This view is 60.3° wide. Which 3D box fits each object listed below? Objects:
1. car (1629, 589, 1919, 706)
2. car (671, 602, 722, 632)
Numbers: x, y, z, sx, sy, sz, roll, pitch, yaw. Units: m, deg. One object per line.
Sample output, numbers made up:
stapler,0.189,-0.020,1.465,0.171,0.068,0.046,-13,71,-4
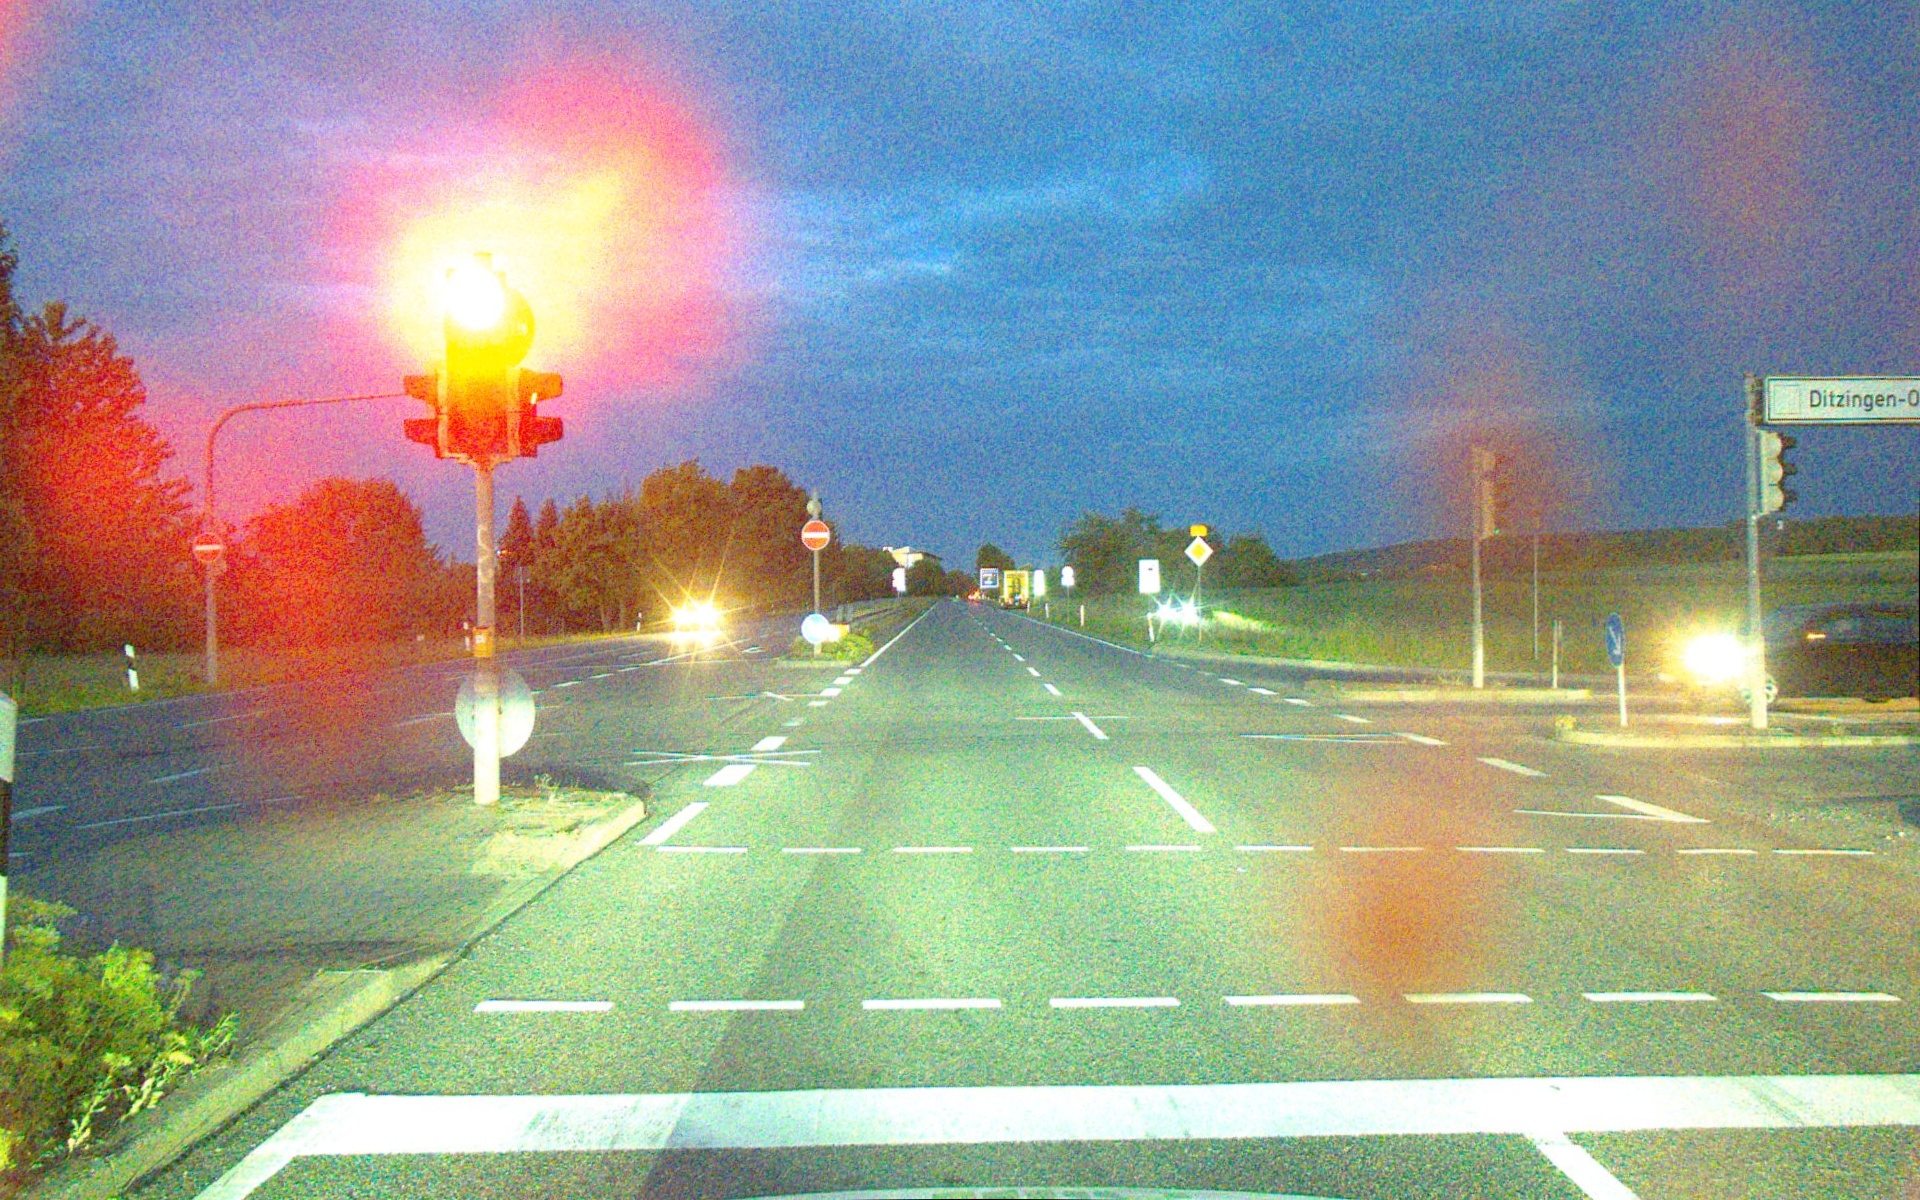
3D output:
car,12.209,0.637,23.597,4.506,1.547,2.000,-1,0,0
car,-13.217,0.826,83.028,1.953,1.411,3.999,-1,0,-1
